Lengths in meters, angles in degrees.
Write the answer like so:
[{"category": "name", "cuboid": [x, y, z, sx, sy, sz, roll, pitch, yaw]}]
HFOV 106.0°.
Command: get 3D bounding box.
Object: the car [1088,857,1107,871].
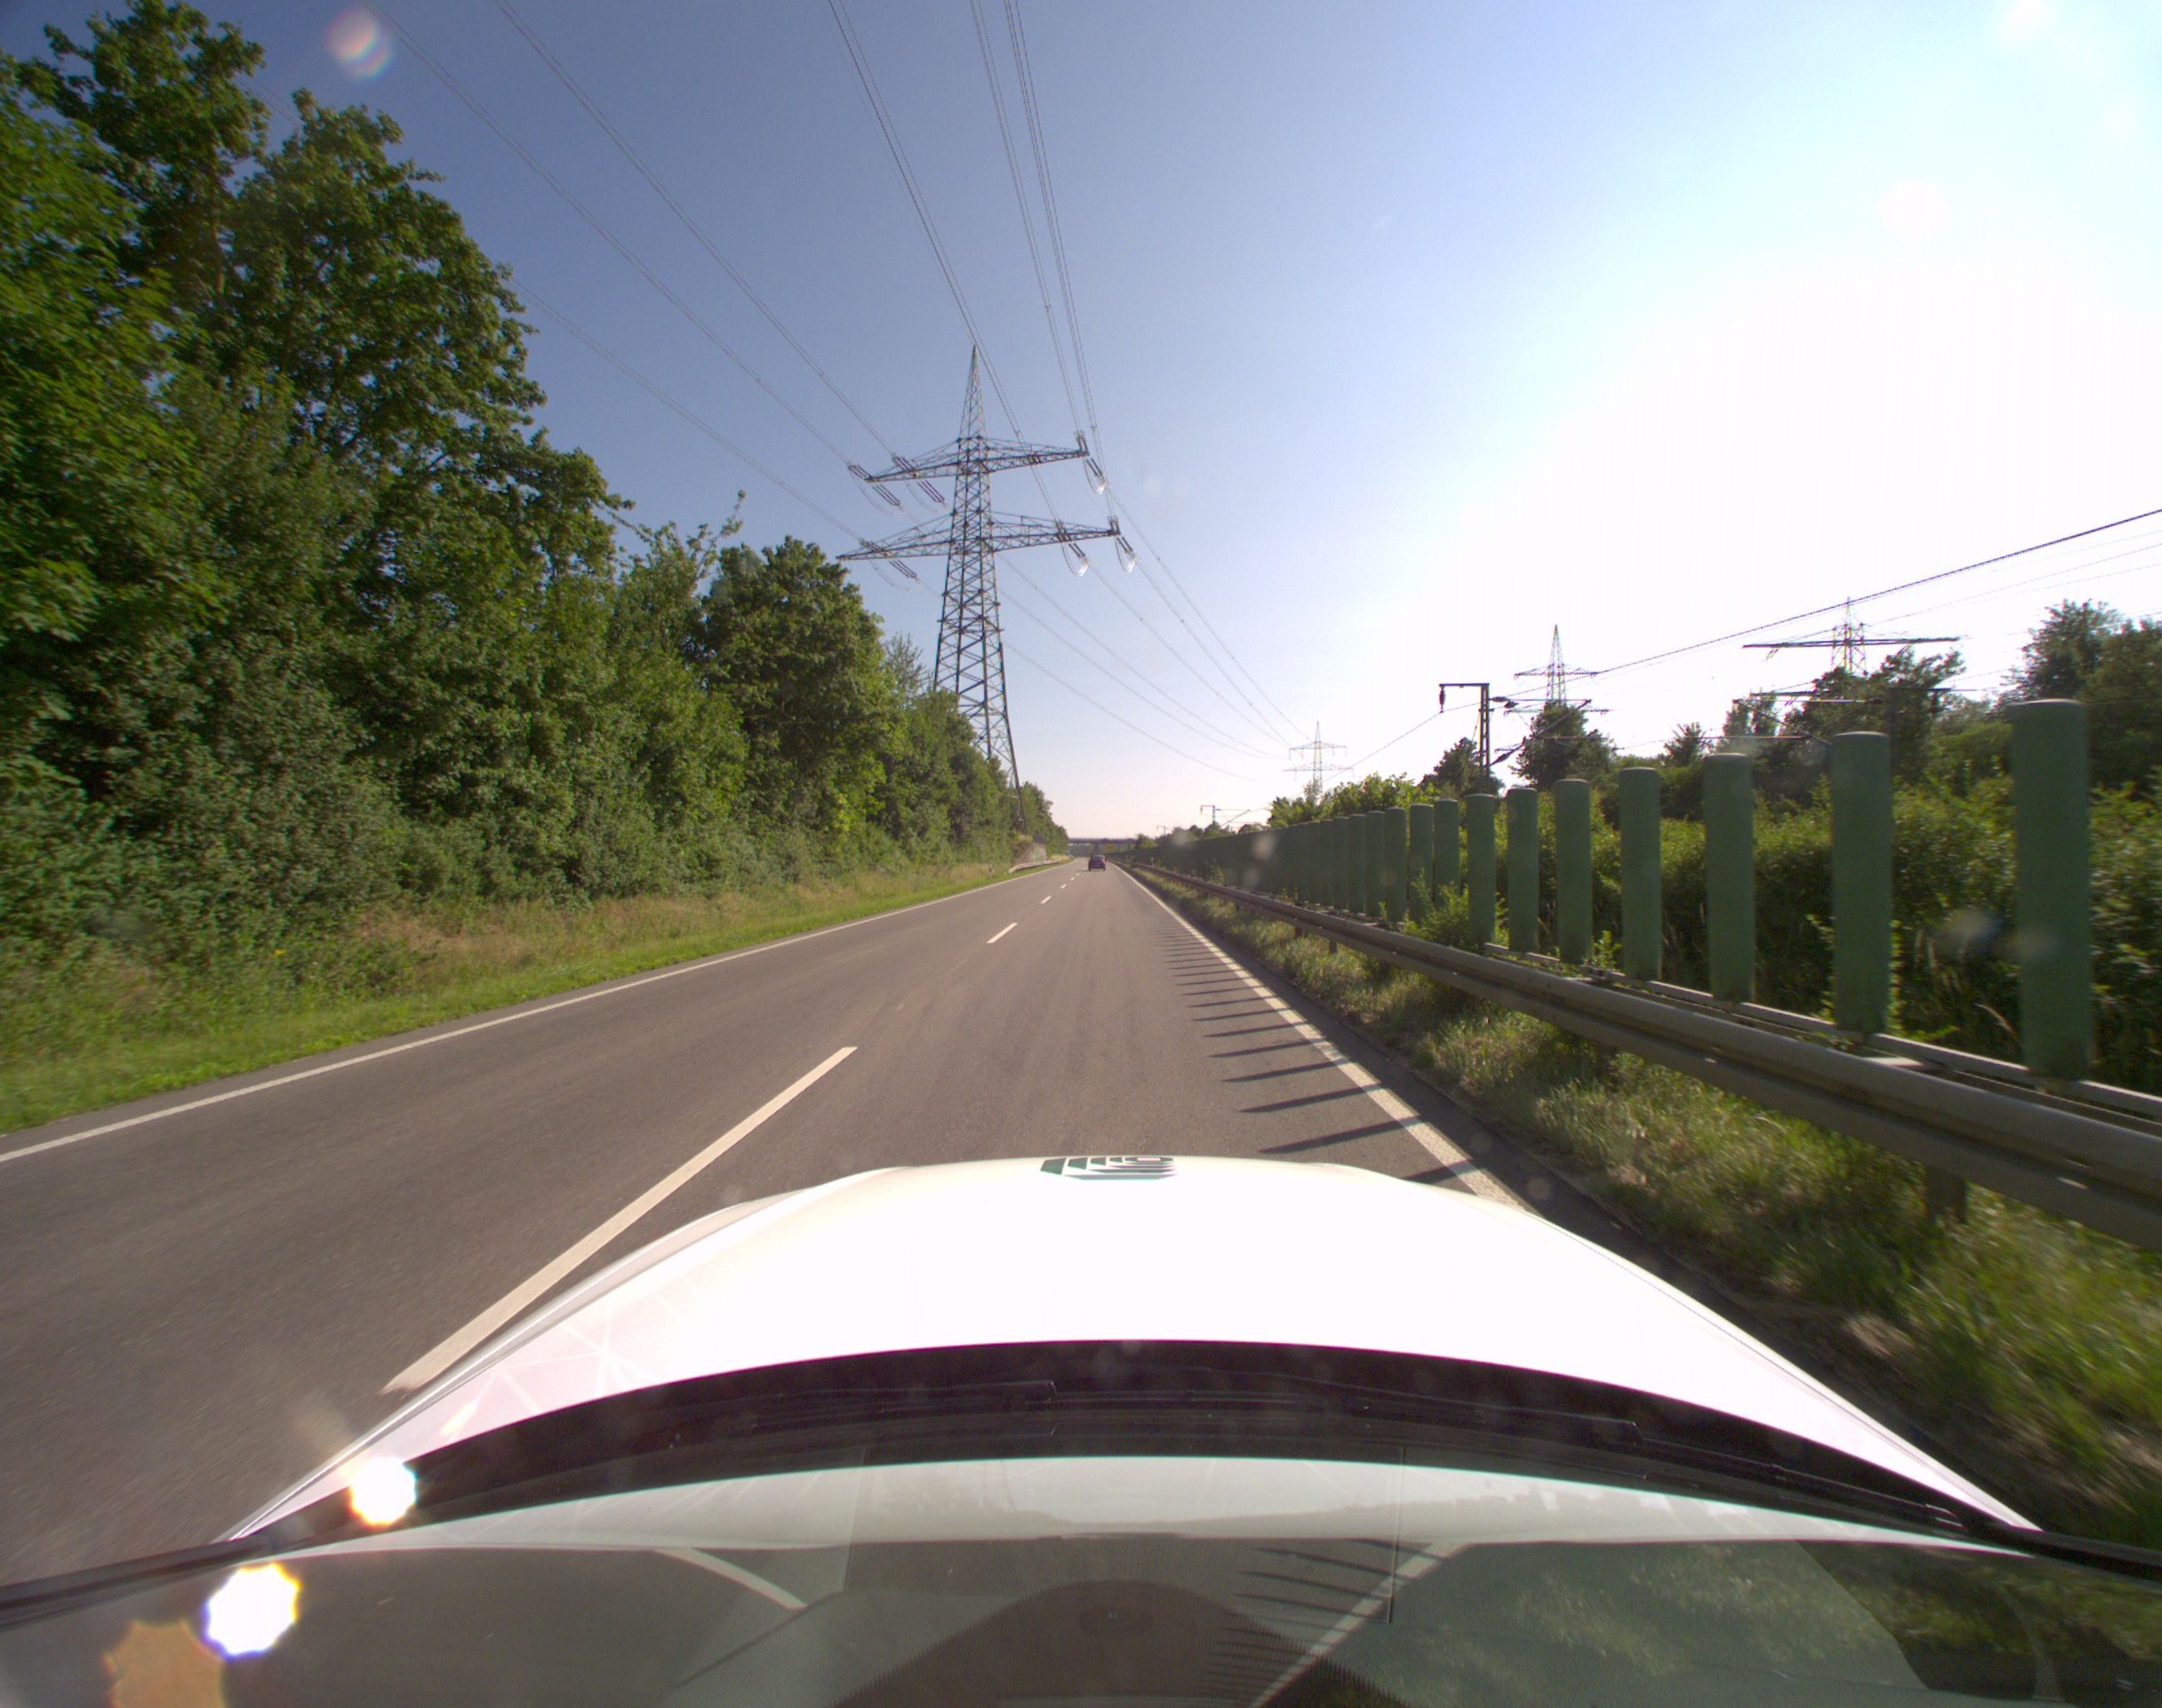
[{"category": "car", "cuboid": [1.584, 0.961, 78.077, 1.659, 1.261, 3.998, -1, -1, -1]}]
